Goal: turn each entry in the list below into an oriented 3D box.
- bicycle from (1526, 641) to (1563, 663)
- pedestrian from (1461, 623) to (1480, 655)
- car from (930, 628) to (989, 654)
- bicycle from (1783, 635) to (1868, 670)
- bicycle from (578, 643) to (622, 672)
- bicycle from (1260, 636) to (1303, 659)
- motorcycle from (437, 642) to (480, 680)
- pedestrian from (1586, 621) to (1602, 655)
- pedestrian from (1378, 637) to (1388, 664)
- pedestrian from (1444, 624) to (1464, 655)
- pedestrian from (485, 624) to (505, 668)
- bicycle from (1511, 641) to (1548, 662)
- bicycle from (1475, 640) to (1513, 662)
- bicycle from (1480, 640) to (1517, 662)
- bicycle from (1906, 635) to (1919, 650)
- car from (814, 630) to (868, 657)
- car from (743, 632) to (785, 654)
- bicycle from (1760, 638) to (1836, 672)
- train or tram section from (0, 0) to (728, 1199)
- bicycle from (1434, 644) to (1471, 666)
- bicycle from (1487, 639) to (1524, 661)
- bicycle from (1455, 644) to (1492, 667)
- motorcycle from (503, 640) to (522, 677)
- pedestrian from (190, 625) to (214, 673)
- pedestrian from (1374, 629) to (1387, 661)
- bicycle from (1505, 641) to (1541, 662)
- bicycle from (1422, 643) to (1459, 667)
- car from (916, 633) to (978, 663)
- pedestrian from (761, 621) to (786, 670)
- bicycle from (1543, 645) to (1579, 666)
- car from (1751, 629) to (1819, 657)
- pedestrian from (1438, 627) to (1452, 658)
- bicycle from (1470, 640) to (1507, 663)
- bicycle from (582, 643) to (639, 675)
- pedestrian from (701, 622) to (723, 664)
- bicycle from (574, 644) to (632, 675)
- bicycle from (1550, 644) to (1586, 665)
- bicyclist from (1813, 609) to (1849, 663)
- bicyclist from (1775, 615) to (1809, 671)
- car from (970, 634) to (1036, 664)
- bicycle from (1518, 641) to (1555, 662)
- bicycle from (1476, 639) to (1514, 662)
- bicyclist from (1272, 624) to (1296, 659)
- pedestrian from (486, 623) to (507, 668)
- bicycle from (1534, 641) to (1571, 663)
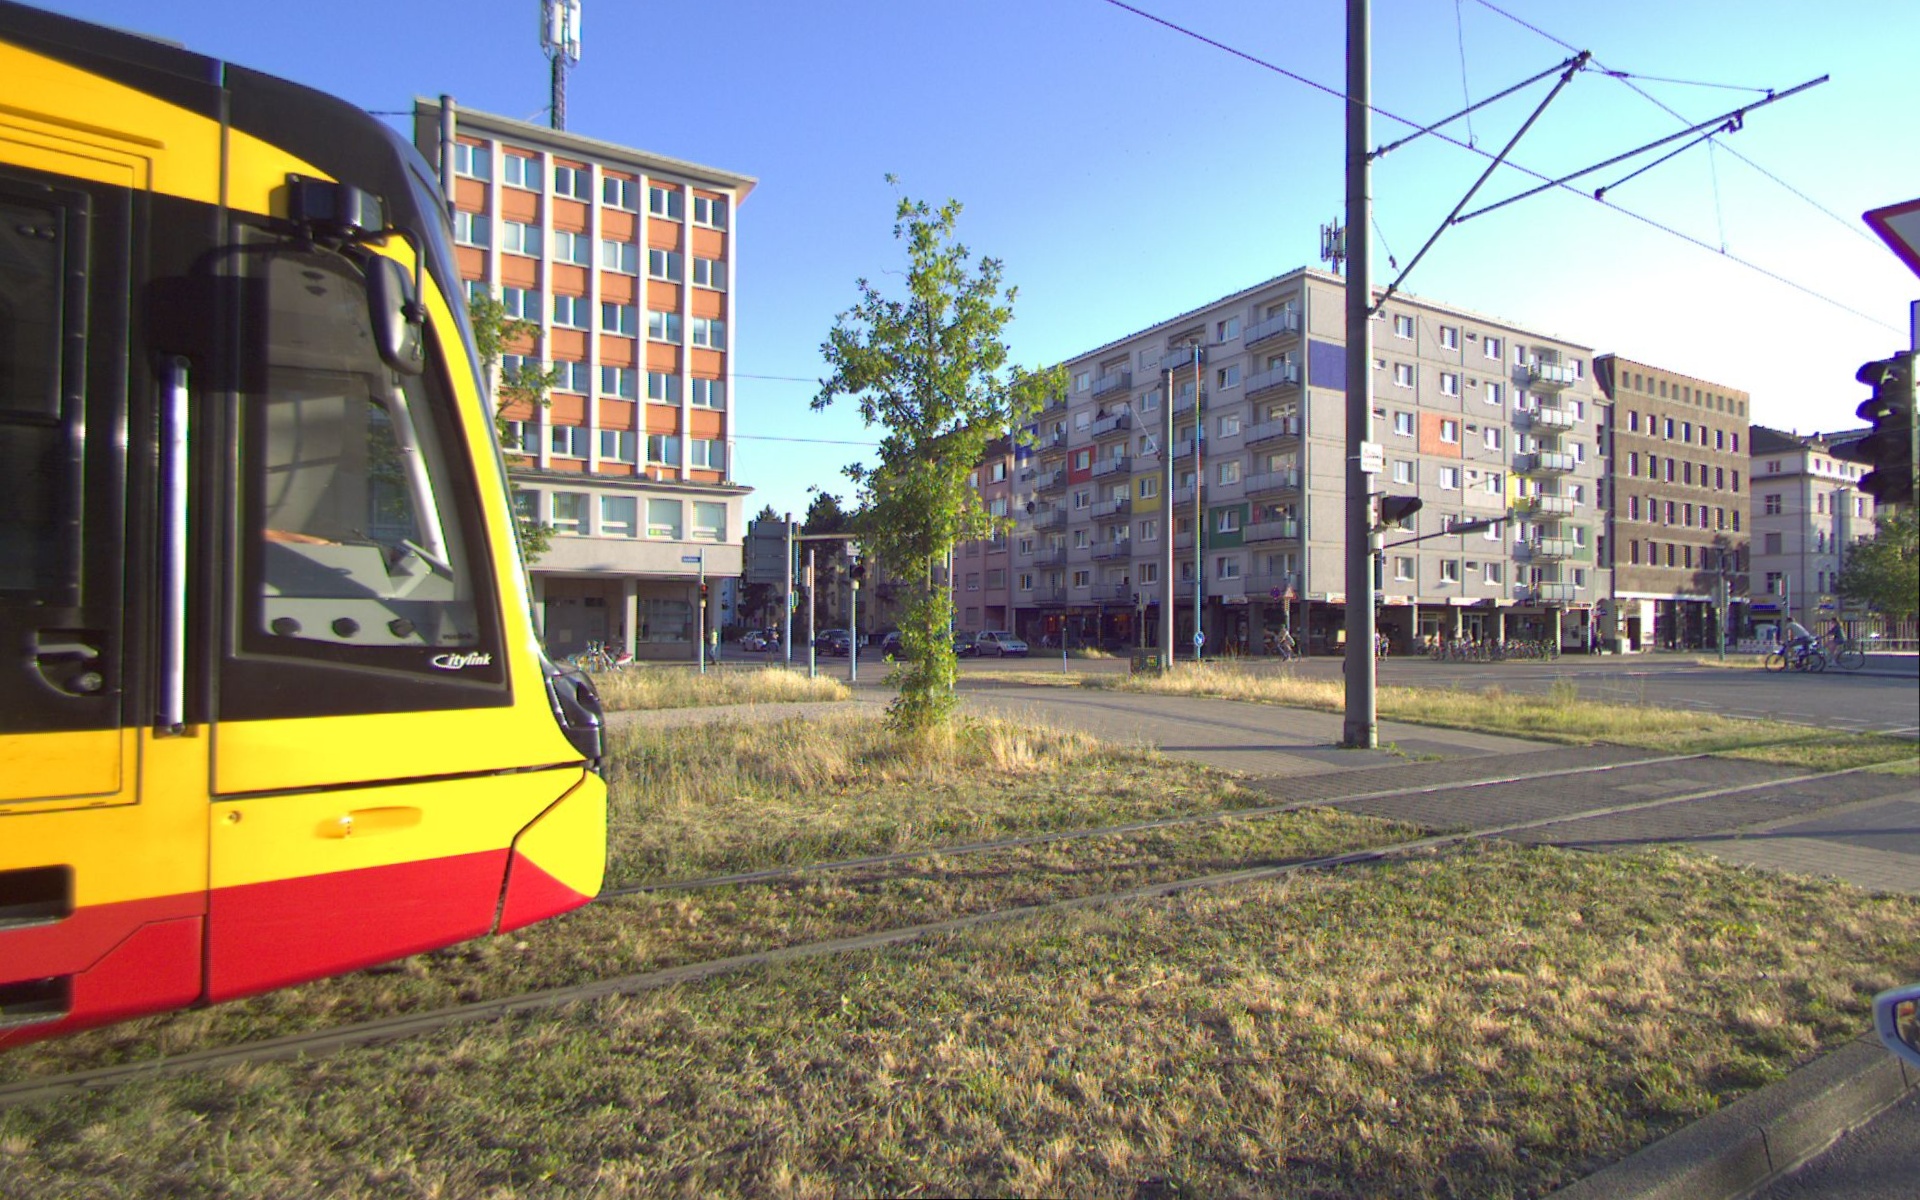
[{"bbox_3d":[33.212,2.944,57.078,0.696,1.168,1.684,1,-2,-28],"label":"bicycle"},{"bbox_3d":[30.029,2.284,59.113,0.728,1.866,0.780,1,-2,-38],"label":"pedestrian"},{"bbox_3d":[-0.085,2.403,59.618,1.974,1.505,3.974,1,-2,-26],"label":"car"},{"bbox_3d":[29.621,1.785,34.412,0.535,1.098,2.144,2,0,-42],"label":"bicycle"},{"bbox_3d":[-13.870,2.199,38.679,1.543,1.089,0.392,1,-1,-31],"label":"bicycle"},{"bbox_3d":[13.638,2.030,42.612,1.635,0.957,0.509,0,-1,-1],"label":"bicycle"},{"bbox_3d":[-17.934,2.160,35.935,1.373,1.335,0.378,1,-1,-28],"label":"motorcycle"},{"bbox_3d":[42.021,2.498,66.617,0.783,2.207,0.599,1,-1,-30],"label":"pedestrian"},{"bbox_3d":[21.967,2.614,52.153,0.376,1.401,0.394,0,-1,32],"label":"pedestrian"},{"bbox_3d":[29.605,2.366,60.161,0.715,1.837,0.819,1,0,-40],"label":"pedestrian"},{"bbox_3d":[-19.110,1.896,41.276,0.690,1.774,0.646,1,-1,-30],"label":"pedestrian"},{"bbox_3d":[32.036,2.912,56.516,0.561,1.134,1.753,1,-2,-29],"label":"bicycle"},{"bbox_3d":[29.663,2.809,55.793,0.632,1.176,1.823,1,-2,-29],"label":"bicycle"},{"bbox_3d":[30.140,2.834,56.218,0.598,1.174,1.768,1,-2,-29],"label":"bicycle"},{"bbox_3d":[77.581,3.413,81.245,2.382,1.217,0.809,1,-2,-28],"label":"bicycle"},{"bbox_3d":[-7.306,2.646,61.371,1.975,1.551,3.971,1,-1,-28],"label":"car"},{"bbox_3d":[-14.534,3.157,74.285,1.975,1.551,3.971,1,-2,-28],"label":"car"},{"bbox_3d":[27.886,1.807,33.457,0.628,1.089,1.883,1,-2,-42],"label":"bicycle"},{"bbox_3d":[-7.188,-0.395,1.532,13.061,3.788,2.895,1,-1,-30],"label":"train or tram section"},{"bbox_3d":[26.680,2.979,54.470,0.601,1.157,1.768,1,-2,-29],"label":"bicycle"},{"bbox_3d":[30.709,2.803,56.575,0.598,1.151,1.763,1,-2,-29],"label":"bicycle"},{"bbox_3d":[27.634,2.967,54.097,0.592,1.154,1.749,1,-2,-29],"label":"bicycle"},{"bbox_3d":[-17.036,2.211,38.195,0.538,1.335,1.823,1,-1,-27],"label":"motorcycle"},{"bbox_3d":[-28.908,1.858,38.331,0.623,1.792,0.593,1,-1,-30],"label":"pedestrian"},{"bbox_3d":[21.534,2.287,51.438,0.563,1.641,0.602,0,-1,29],"label":"pedestrian"},{"bbox_3d":[31.531,2.853,56.234,0.545,1.132,1.747,1,-2,-29],"label":"bicycle"},{"bbox_3d":[25.802,2.936,53.944,0.631,1.224,1.786,1,-2,-30],"label":"bicycle"},{"bbox_3d":[-0.770,2.620,55.471,1.974,1.505,3.974,1,-2,-26],"label":"car"},{"bbox_3d":[-7.625,1.843,40.981,0.708,1.972,0.720,-1,-2,43],"label":"pedestrian"},{"bbox_3d":[34.558,3.170,57.774,0.739,1.185,1.684,1,-2,-28],"label":"bicycle"},{"bbox_3d":[48.417,2.514,58.927,3.950,1.639,1.683,1,-3,-28],"label":"car"},{"bbox_3d":[26.819,2.365,55.529,0.573,1.706,0.543,-1,-2,44],"label":"pedestrian"},{"bbox_3d":[28.701,2.787,54.583,0.561,1.197,1.761,1,-2,-29],"label":"bicycle"},{"bbox_3d":[-12.531,2.106,36.026,1.885,1.089,0.465,1,-1,-31],"label":"bicycle"},{"bbox_3d":[-11.240,1.948,45.497,0.879,1.855,0.885,1,-1,-20],"label":"pedestrian"},{"bbox_3d":[-13.297,2.206,37.469,1.972,1.089,0.465,1,-1,-31],"label":"bicycle"},{"bbox_3d":[35.182,3.143,58.144,0.688,1.159,1.684,1,-2,-28],"label":"bicycle"},{"bbox_3d":[29.730,1.221,34.305,0.534,1.842,0.868,1,-2,-43],"label":"bicyclist"},{"bbox_3d":[27.794,1.421,33.543,0.641,1.842,0.785,1,-2,-43],"label":"bicyclist"},{"bbox_3d":[2.347,2.660,55.504,1.974,1.506,3.974,1,-1,-26],"label":"car"},{"bbox_3d":[32.596,2.918,56.805,0.626,1.139,1.720,2,-2,-28],"label":"bicycle"},{"bbox_3d":[29.248,2.778,54.907,0.644,1.206,1.780,1,-2,-30],"label":"bicycle"},{"bbox_3d":[13.748,1.753,42.621,0.840,1.445,0.501,0,-1,-1],"label":"bicyclist"},{"bbox_3d":[-18.803,1.849,40.721,0.696,1.816,0.590,1,-1,-30],"label":"pedestrian"},{"bbox_3d":[33.879,2.961,57.428,0.739,1.194,1.684,1,-2,-28],"label":"bicycle"}]
